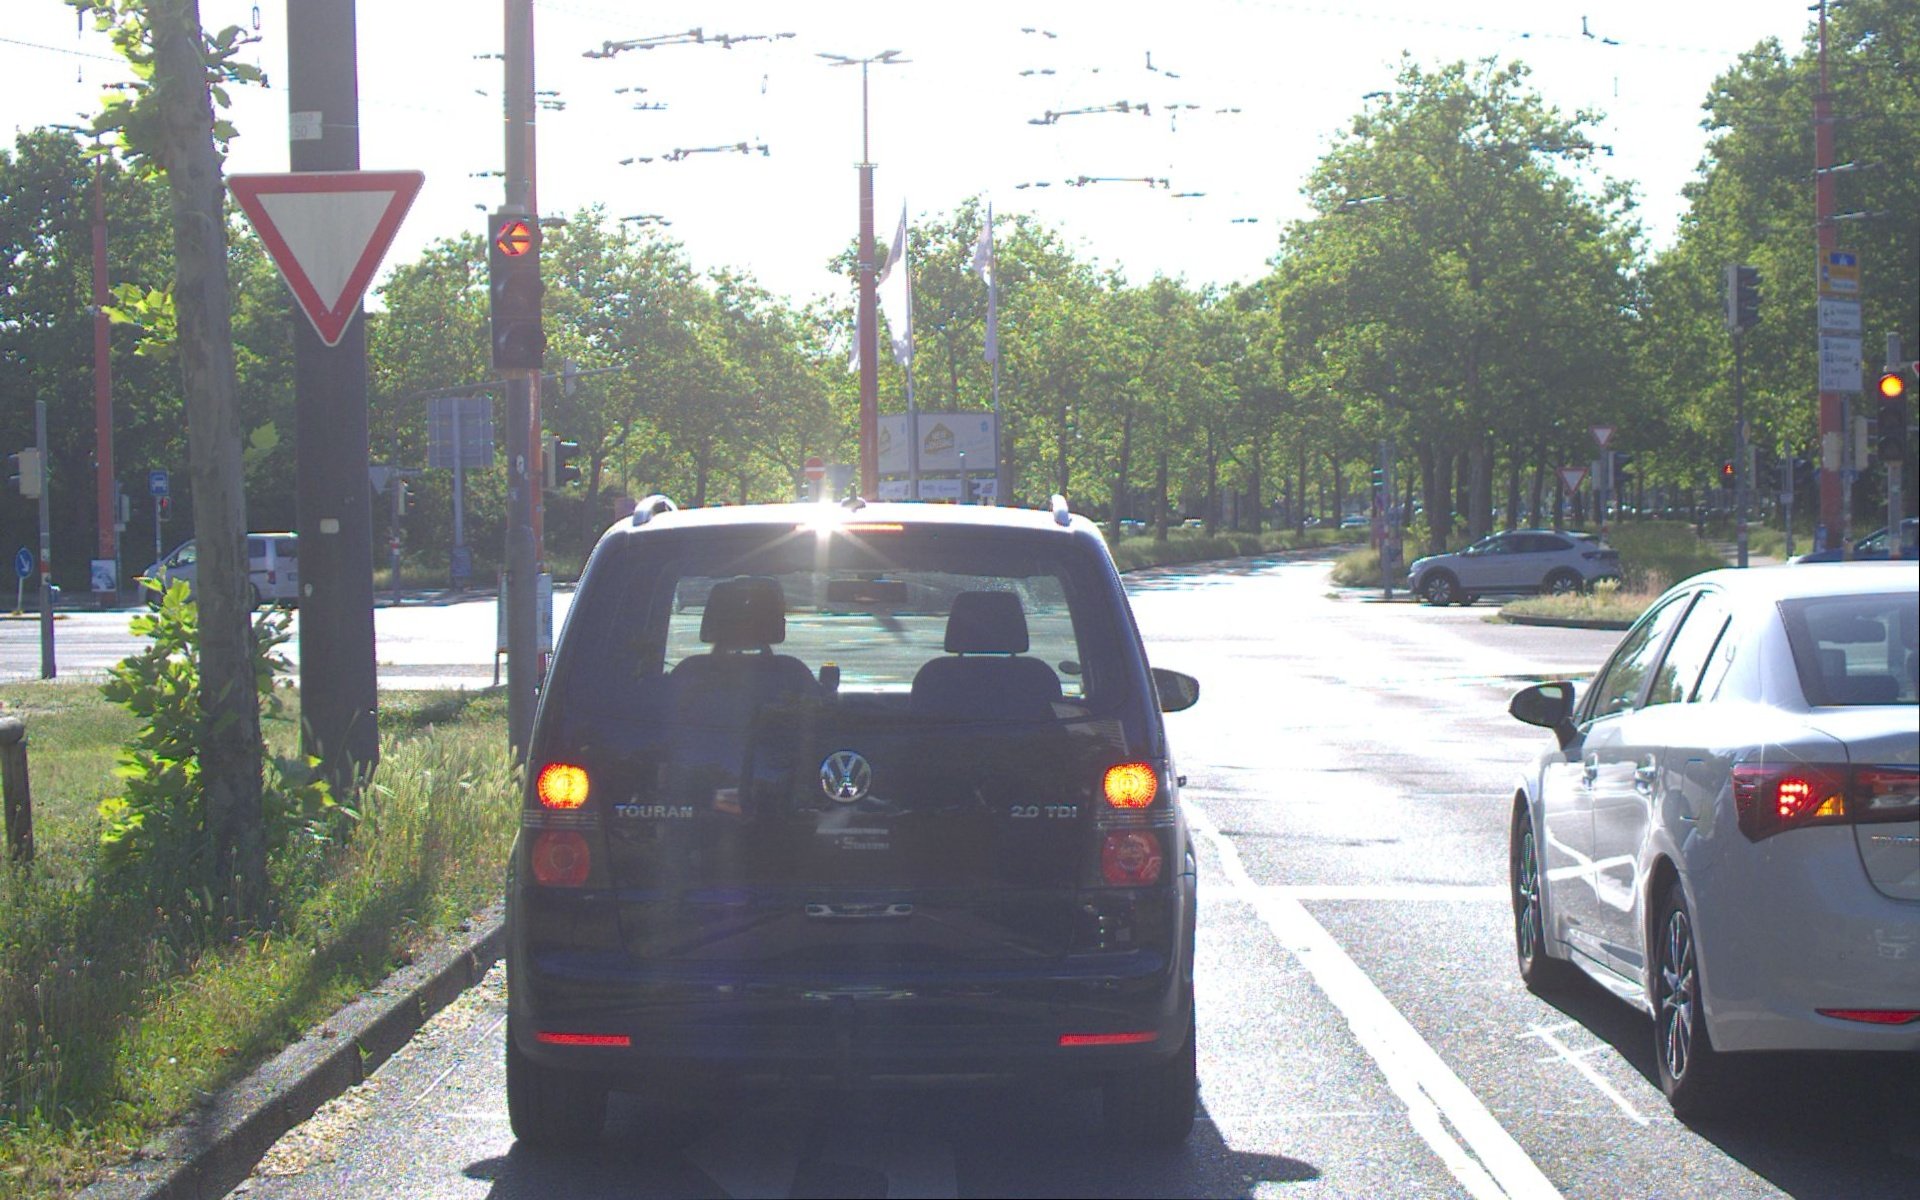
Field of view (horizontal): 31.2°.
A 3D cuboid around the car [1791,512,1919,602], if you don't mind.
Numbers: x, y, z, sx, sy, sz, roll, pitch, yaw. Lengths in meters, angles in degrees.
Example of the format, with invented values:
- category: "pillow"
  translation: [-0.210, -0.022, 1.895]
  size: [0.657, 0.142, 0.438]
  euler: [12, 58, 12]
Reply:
- category: "car"
  translation: [17.190, -0.770, 61.634]
  size: [4.125, 1.592, 1.826]
  euler: [0, 1, 27]

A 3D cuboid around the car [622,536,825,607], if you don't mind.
- category: "car"
  translation: [-5.268, -0.639, 76.610]
  size: [4.127, 1.505, 1.820]
  euler: [1, 1, 26]

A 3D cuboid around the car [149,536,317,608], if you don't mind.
- category: "car"
  translation: [-17.422, -0.673, 82.423]
  size: [3.647, 1.650, 1.678]
  euler: [1, 1, 25]

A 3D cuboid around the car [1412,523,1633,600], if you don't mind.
- category: "car"
  translation: [11.174, -0.765, 68.330]
  size: [3.969, 1.436, 1.684]
  euler: [1, 1, 27]

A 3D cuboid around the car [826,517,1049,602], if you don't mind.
- category: "car"
  translation: [-0.466, -0.830, 70.438]
  size: [4.185, 1.638, 1.757]
  euler: [1, 1, 27]

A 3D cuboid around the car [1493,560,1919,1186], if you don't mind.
- category: "car"
  translation: [2.724, 0.620, 10.104]
  size: [1.720, 1.433, 4.198]
  euler: [1, 1, 1]

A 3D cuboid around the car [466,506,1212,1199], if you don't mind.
- category: "car"
  translation: [-0.307, 0.561, 9.806]
  size: [1.700, 1.616, 3.897]
  euler: [0, 1, -1]
